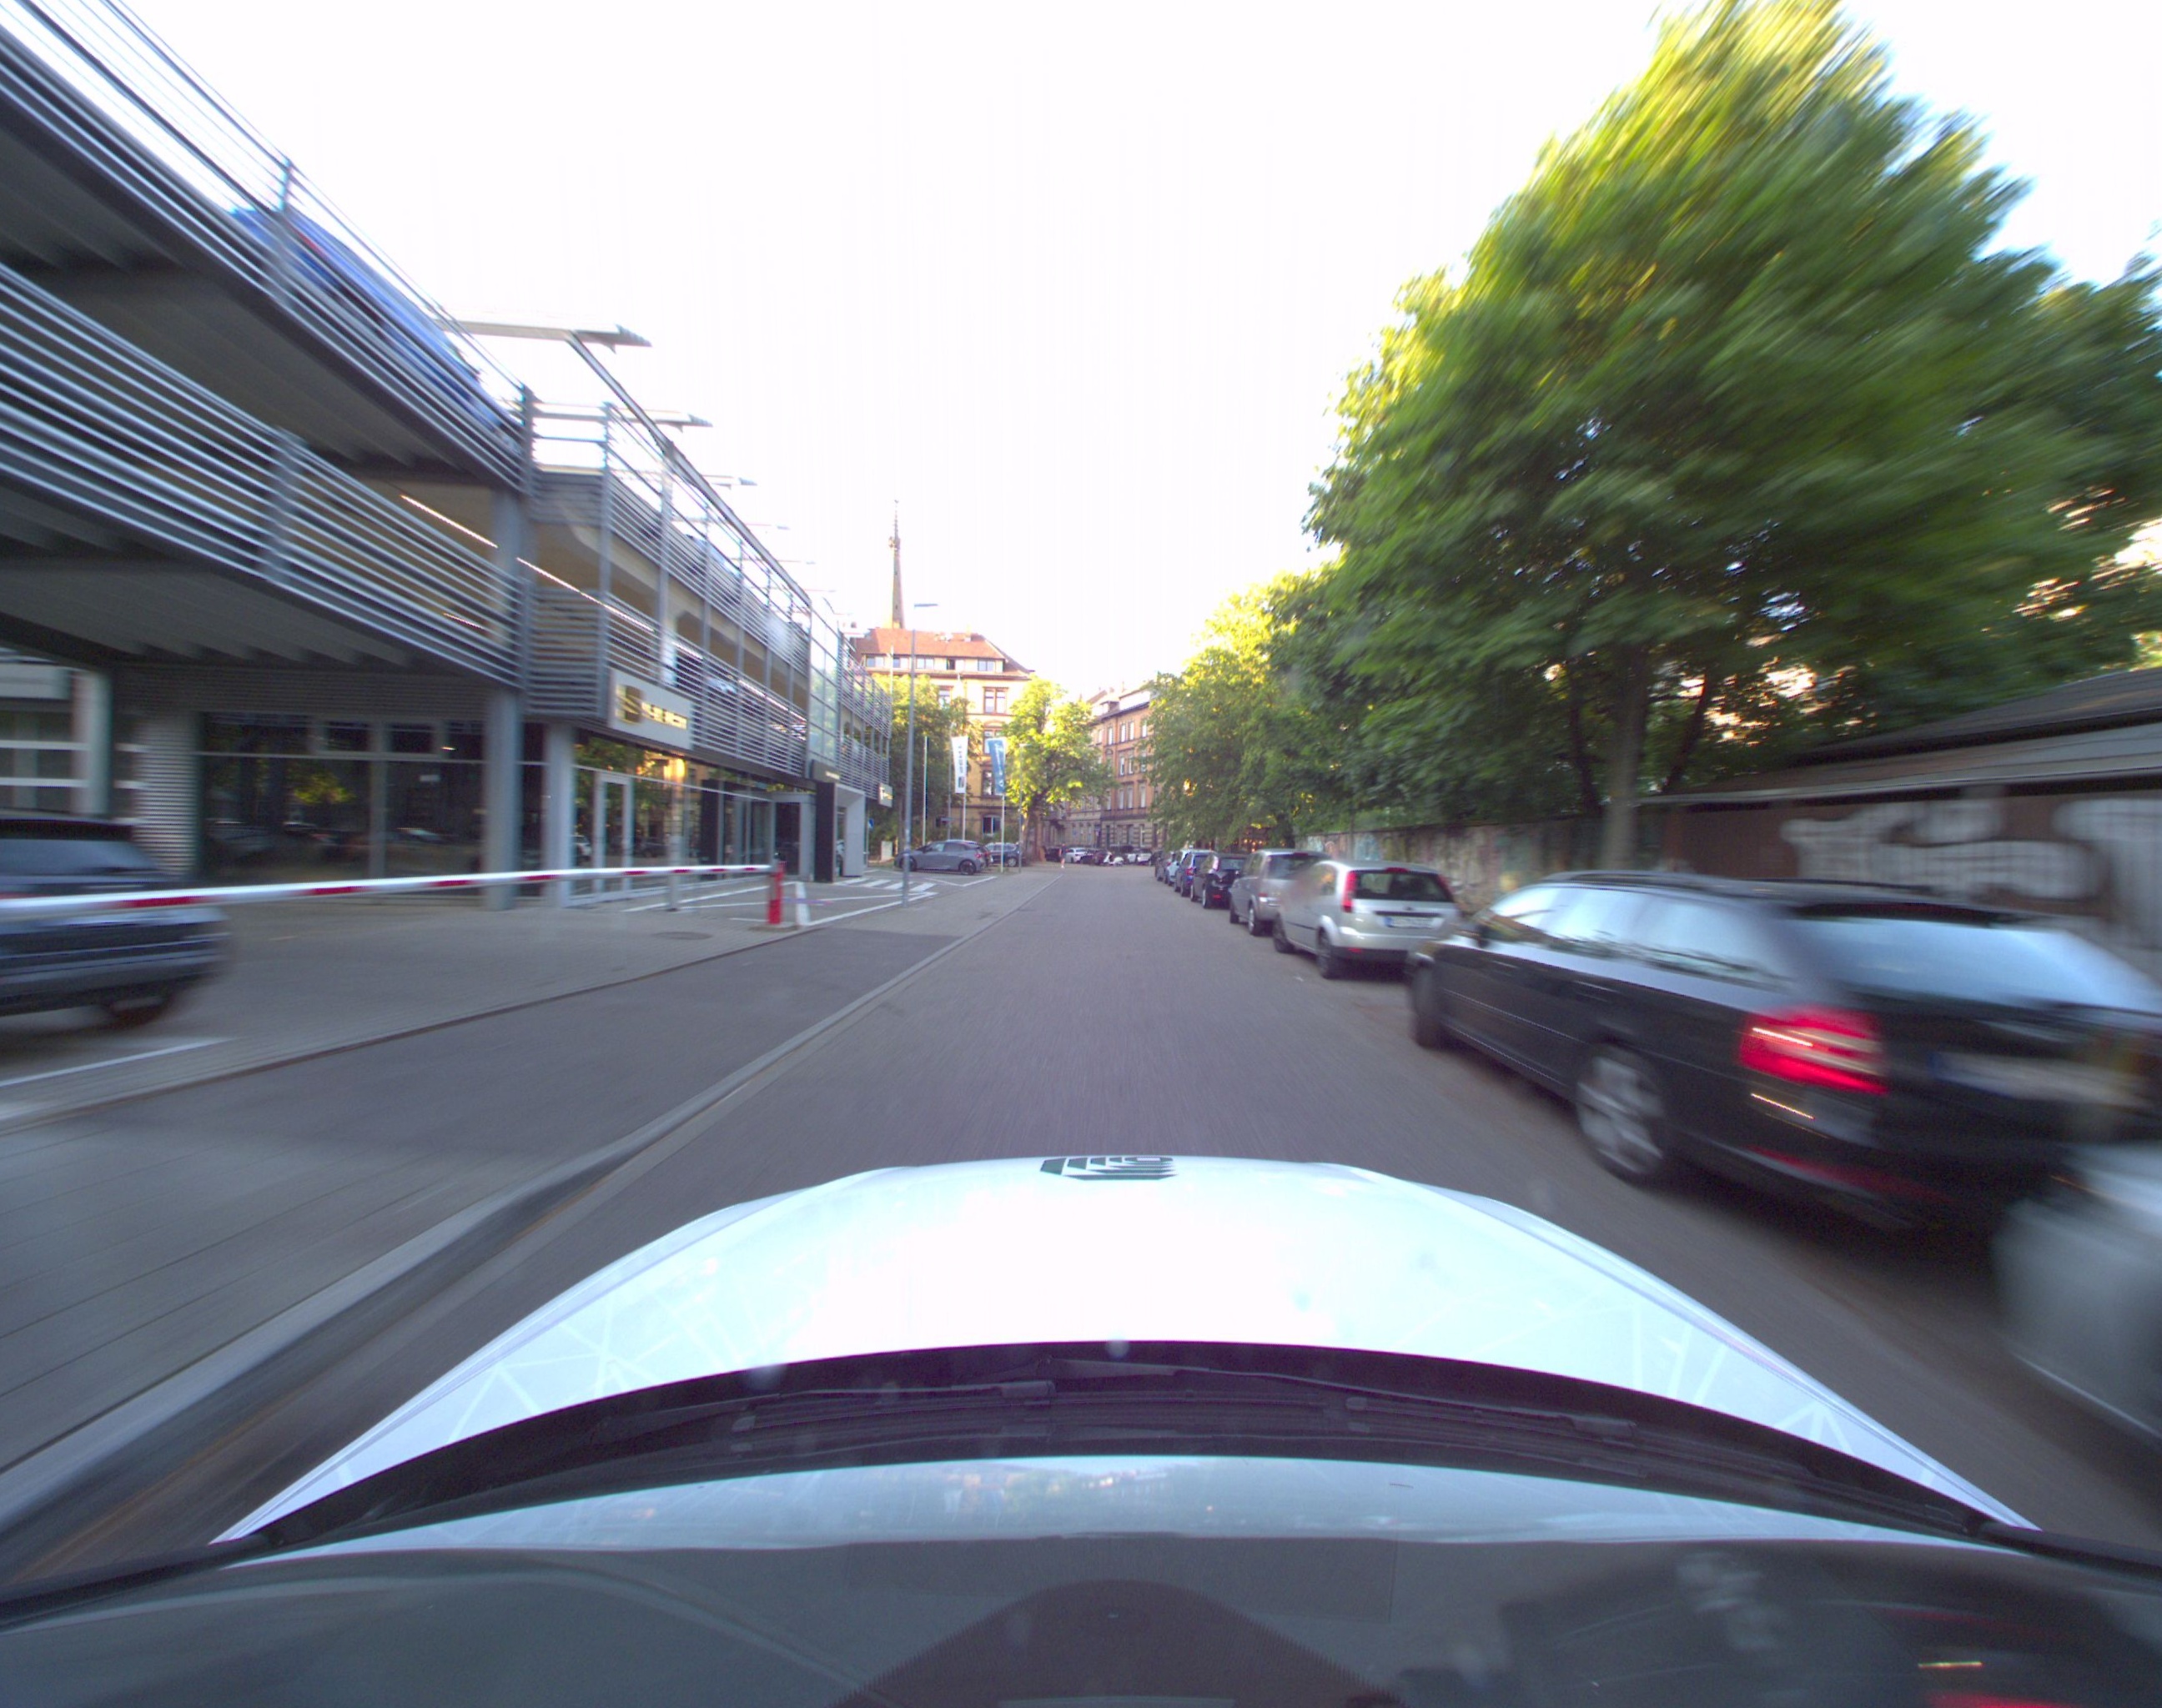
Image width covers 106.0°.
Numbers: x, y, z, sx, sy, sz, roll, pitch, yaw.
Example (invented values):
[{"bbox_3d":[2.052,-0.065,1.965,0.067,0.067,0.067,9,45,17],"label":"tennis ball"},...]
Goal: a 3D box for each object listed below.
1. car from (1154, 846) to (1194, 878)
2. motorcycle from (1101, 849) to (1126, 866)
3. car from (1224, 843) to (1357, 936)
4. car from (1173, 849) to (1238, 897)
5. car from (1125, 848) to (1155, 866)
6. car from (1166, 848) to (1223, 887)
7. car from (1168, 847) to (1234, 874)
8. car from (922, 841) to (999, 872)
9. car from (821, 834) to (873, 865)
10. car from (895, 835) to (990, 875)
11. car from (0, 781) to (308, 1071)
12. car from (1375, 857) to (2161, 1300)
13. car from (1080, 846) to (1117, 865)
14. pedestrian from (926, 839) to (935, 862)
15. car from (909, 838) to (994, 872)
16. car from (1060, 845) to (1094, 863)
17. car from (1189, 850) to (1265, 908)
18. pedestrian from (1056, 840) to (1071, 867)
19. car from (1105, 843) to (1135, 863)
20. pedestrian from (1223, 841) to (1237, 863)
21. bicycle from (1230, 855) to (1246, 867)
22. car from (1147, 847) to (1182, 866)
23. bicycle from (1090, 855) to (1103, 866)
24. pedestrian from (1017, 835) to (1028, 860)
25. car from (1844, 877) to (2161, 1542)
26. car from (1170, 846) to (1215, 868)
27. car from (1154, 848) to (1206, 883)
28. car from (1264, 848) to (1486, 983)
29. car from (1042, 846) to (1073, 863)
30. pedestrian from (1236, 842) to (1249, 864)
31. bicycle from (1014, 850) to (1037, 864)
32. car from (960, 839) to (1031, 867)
[{"bbox_3d":[4.765,0.364,42.234,1.689,1.571,3.972,1,0,1],"label":"car"},{"bbox_3d":[2.644,0.311,65.571,1.931,1.340,0.575,1,1,-9],"label":"motorcycle"},{"bbox_3d":[4.015,0.608,16.251,1.753,1.604,3.875,1,0,2],"label":"car"},{"bbox_3d":[4.181,0.595,27.914,1.688,1.476,4.119,1,0,2],"label":"car"},{"bbox_3d":[5.340,0.238,73.826,1.681,1.525,2.747,1,1,-22],"label":"car"},{"bbox_3d":[4.504,0.507,32.791,1.690,1.476,3.557,1,0,-2],"label":"car"},{"bbox_3d":[7.254,0.373,48.994,3.994,1.466,1.859,1,2,-45],"label":"car"},{"bbox_3d":[-6.781,0.114,46.228,4.035,1.475,1.919,3,1,-3],"label":"car"},{"bbox_3d":[-12.356,-0.254,43.260,1.698,1.550,4.219,1,0,-3],"label":"car"},{"bbox_3d":[-6.524,0.034,38.796,4.116,1.617,1.913,3,1,-1],"label":"car"},{"bbox_3d":[-7.881,0.376,5.215,3.974,1.586,1.859,1,-1,-1],"label":"car"},{"bbox_3d":[3.441,0.796,5.028,1.753,1.454,4.394,2,0,2],"label":"car"},{"bbox_3d":[1.461,0.117,68.819,1.661,1.430,3.962,1,2,-22],"label":"car"},{"bbox_3d":[-11.099,-0.275,60.090,0.541,1.634,0.448,1,1,-3],"label":"pedestrian"},{"bbox_3d":[-6.615,0.034,41.784,4.054,1.617,1.765,1,1,-1],"label":"car"},{"bbox_3d":[-0.389,-0.024,73.323,1.660,1.430,4.139,1,2,-20],"label":"car"},{"bbox_3d":[4.080,0.649,23.222,1.591,1.476,3.775,1,0,2],"label":"car"},{"bbox_3d":[-1.222,-0.035,56.705,0.737,1.804,1.115,1,1,-19],"label":"pedestrian"},{"bbox_3d":[3.694,-0.080,77.382,1.681,1.782,2.993,1,1,-22],"label":"car"},{"bbox_3d":[12.419,-0.151,68.023,0.843,1.804,0.771,1,1,-19],"label":"pedestrian"},{"bbox_3d":[12.434,0.551,64.482,0.321,0.914,1.349,0,2,-40],"label":"bicycle"},{"bbox_3d":[7.145,0.223,70.309,1.681,1.525,3.220,0,1,-22],"label":"car"},{"bbox_3d":[1.220,0.486,63.489,0.421,0.822,1.470,1,1,24],"label":"bicycle"},{"bbox_3d":[-4.402,-0.525,61.120,0.813,1.852,0.802,1,1,-3],"label":"pedestrian"},{"bbox_3d":[3.257,0.858,0.570,1.753,1.442,4.008,1,1,2],"label":"car"},{"bbox_3d":[8.957,0.241,65.723,1.922,1.525,3.868,1,2,-22],"label":"car"},{"bbox_3d":[4.464,0.486,37.204,1.691,1.476,4.208,1,0,-3],"label":"car"},{"bbox_3d":[3.787,0.695,11.245,1.753,1.441,3.876,1,1,2],"label":"car"},{"bbox_3d":[-2.282,0.045,77.865,1.661,1.430,3.868,1,2,-22],"label":"car"},{"bbox_3d":[13.095,-0.089,66.074,0.774,1.804,0.839,1,1,-13],"label":"pedestrian"},{"bbox_3d":[-4.105,0.237,60.285,1.678,1.028,0.442,0,1,-23],"label":"bicycle"},{"bbox_3d":[-6.020,-0.077,57.693,4.820,1.732,1.918,2,1,-5],"label":"car"}]
